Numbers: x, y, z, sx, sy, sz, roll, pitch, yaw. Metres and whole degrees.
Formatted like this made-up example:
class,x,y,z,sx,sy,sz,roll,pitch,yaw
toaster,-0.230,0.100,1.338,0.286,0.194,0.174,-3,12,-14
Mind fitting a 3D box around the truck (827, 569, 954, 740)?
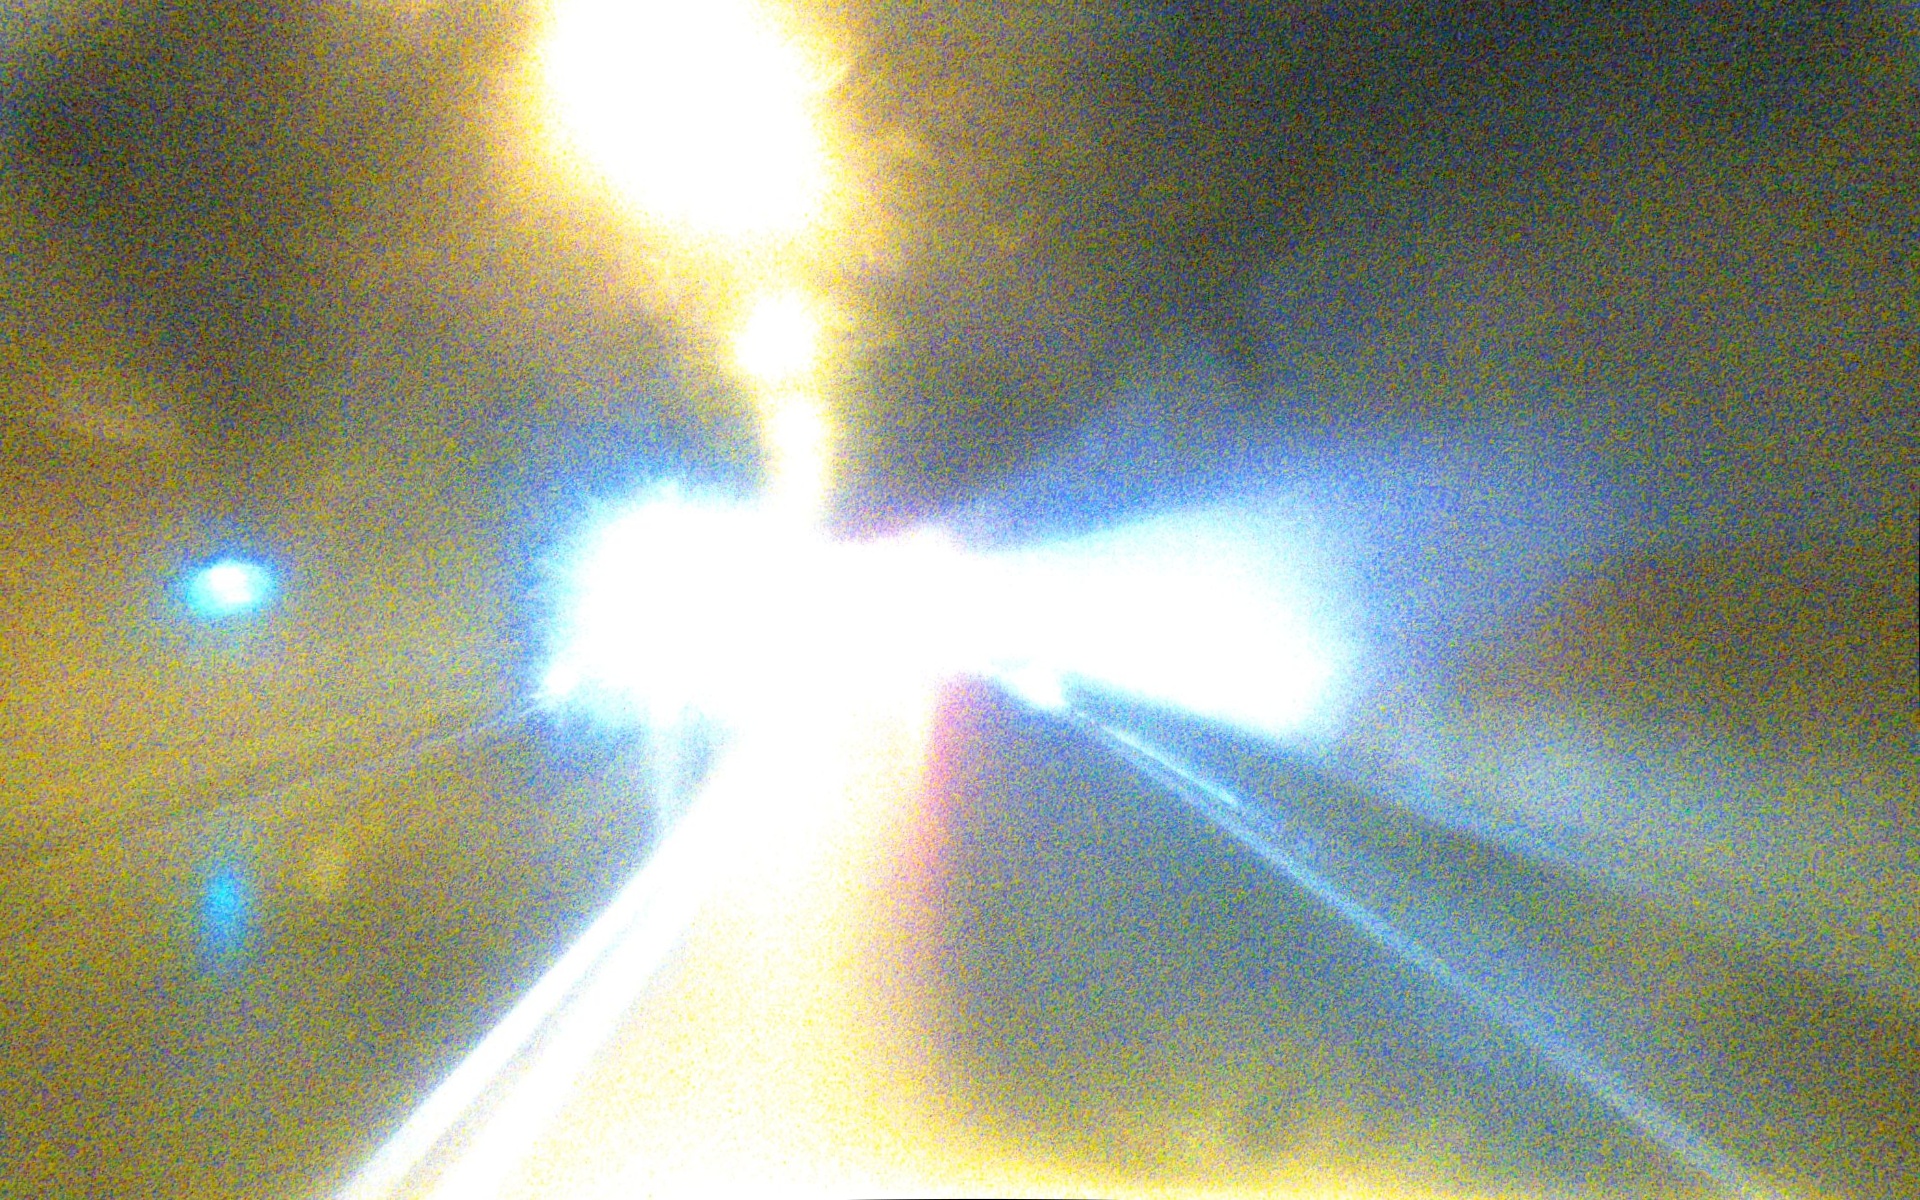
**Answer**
class,x,y,z,sx,sy,sz,roll,pitch,yaw
truck,-1.444,1.007,34.321,2.217,3.063,7.411,3,0,-3
